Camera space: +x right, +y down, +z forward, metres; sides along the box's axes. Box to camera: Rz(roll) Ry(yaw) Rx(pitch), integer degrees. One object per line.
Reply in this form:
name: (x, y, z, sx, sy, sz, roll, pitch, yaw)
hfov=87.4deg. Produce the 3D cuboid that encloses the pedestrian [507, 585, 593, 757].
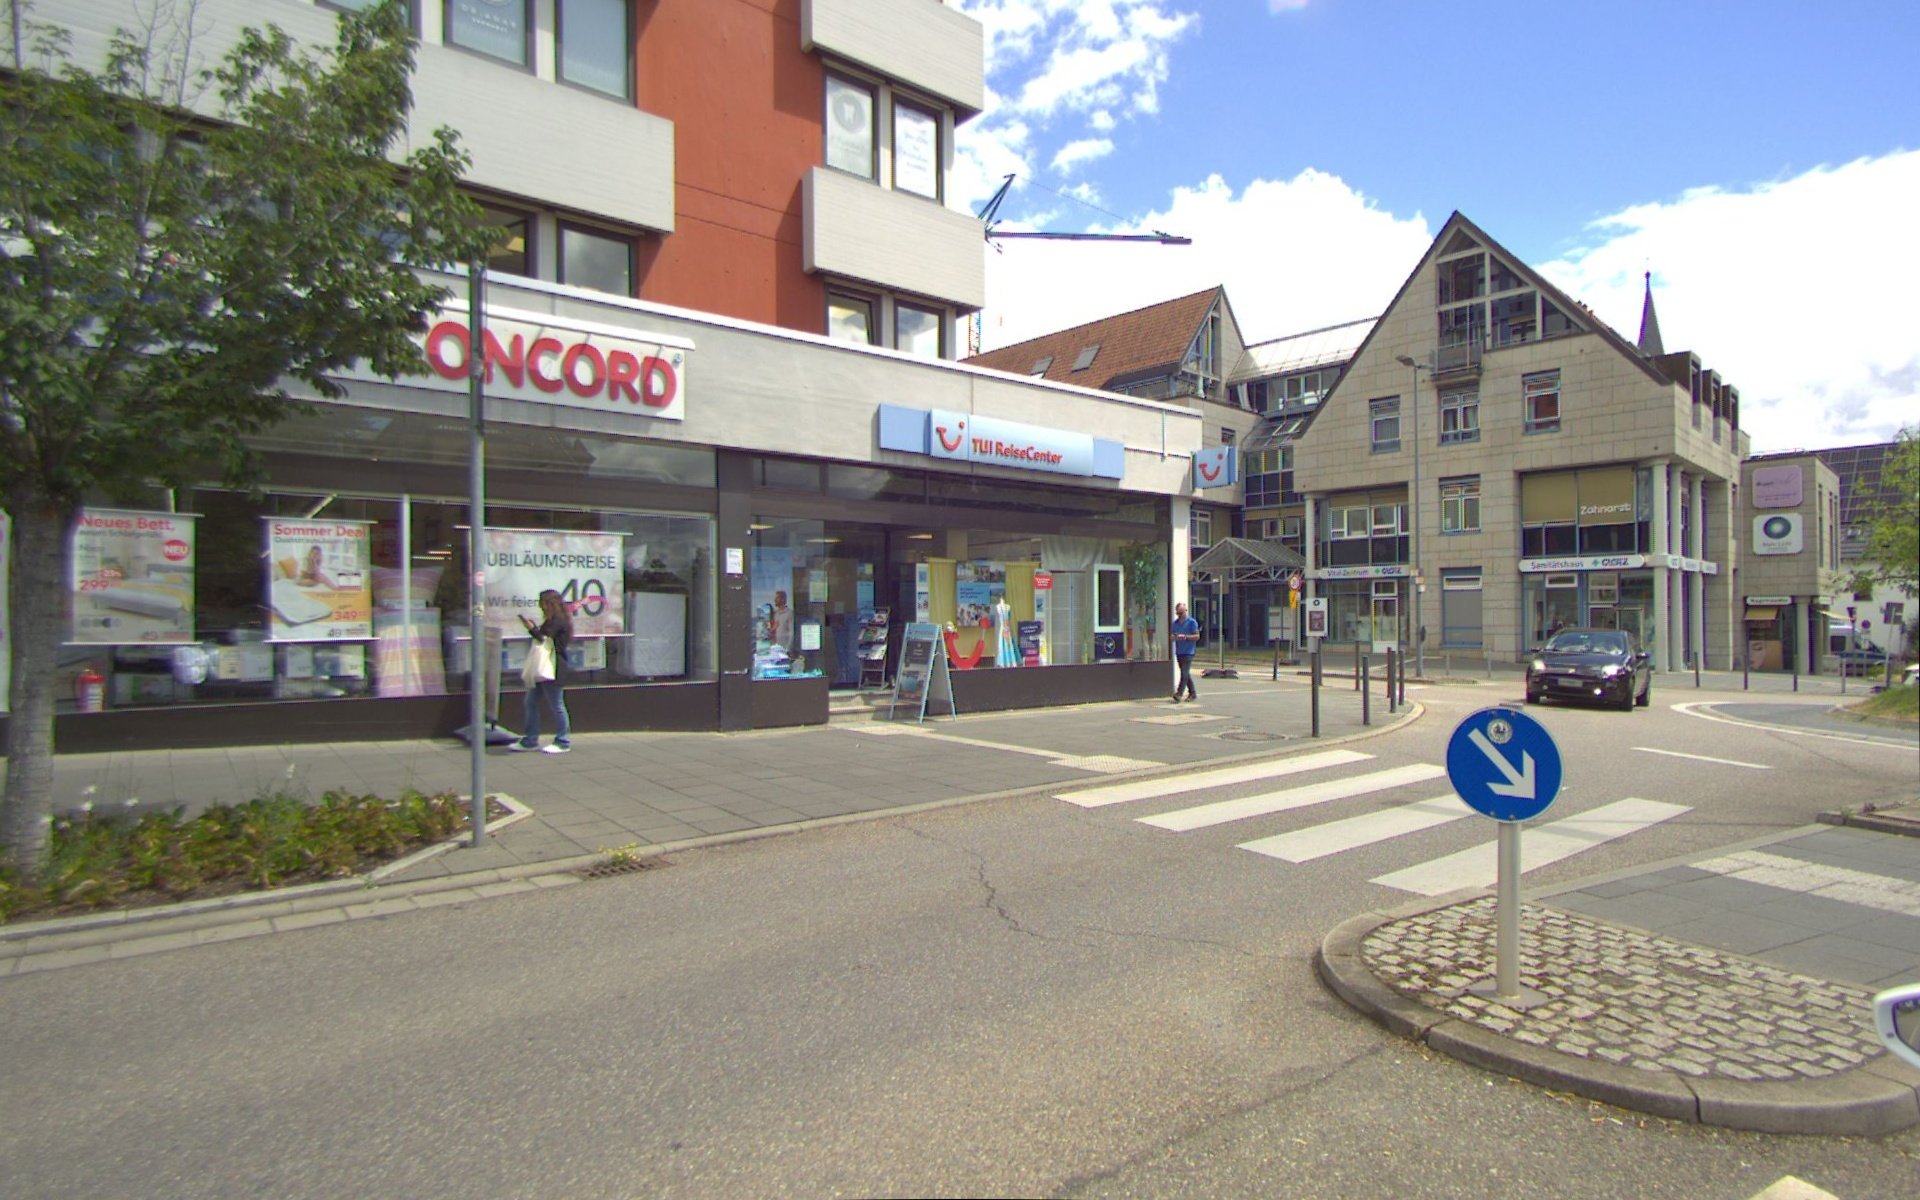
pedestrian: (-4.021, 0.674, 9.839, 0.632, 1.609, 0.583, 2, -1, -34)

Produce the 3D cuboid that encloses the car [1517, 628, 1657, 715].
car: (12.066, 1.372, 19.218, 1.678, 1.437, 4.100, 1, -3, 40)

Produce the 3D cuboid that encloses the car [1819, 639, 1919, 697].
car: (27.055, 1.892, 28.084, 1.822, 1.597, 4.248, 1, -3, -21)

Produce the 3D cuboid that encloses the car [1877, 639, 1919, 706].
car: (25.128, 1.805, 24.042, 4.291, 1.601, 1.863, 1, -2, 23)

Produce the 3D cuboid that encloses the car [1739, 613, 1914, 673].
car: (42.488, 2.098, 49.512, 6.196, 2.593, 2.202, 2, -3, 32)

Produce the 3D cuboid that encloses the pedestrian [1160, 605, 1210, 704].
pedestrian: (3.785, 0.906, 16.913, 0.600, 1.625, 0.563, 1, -1, -37)
